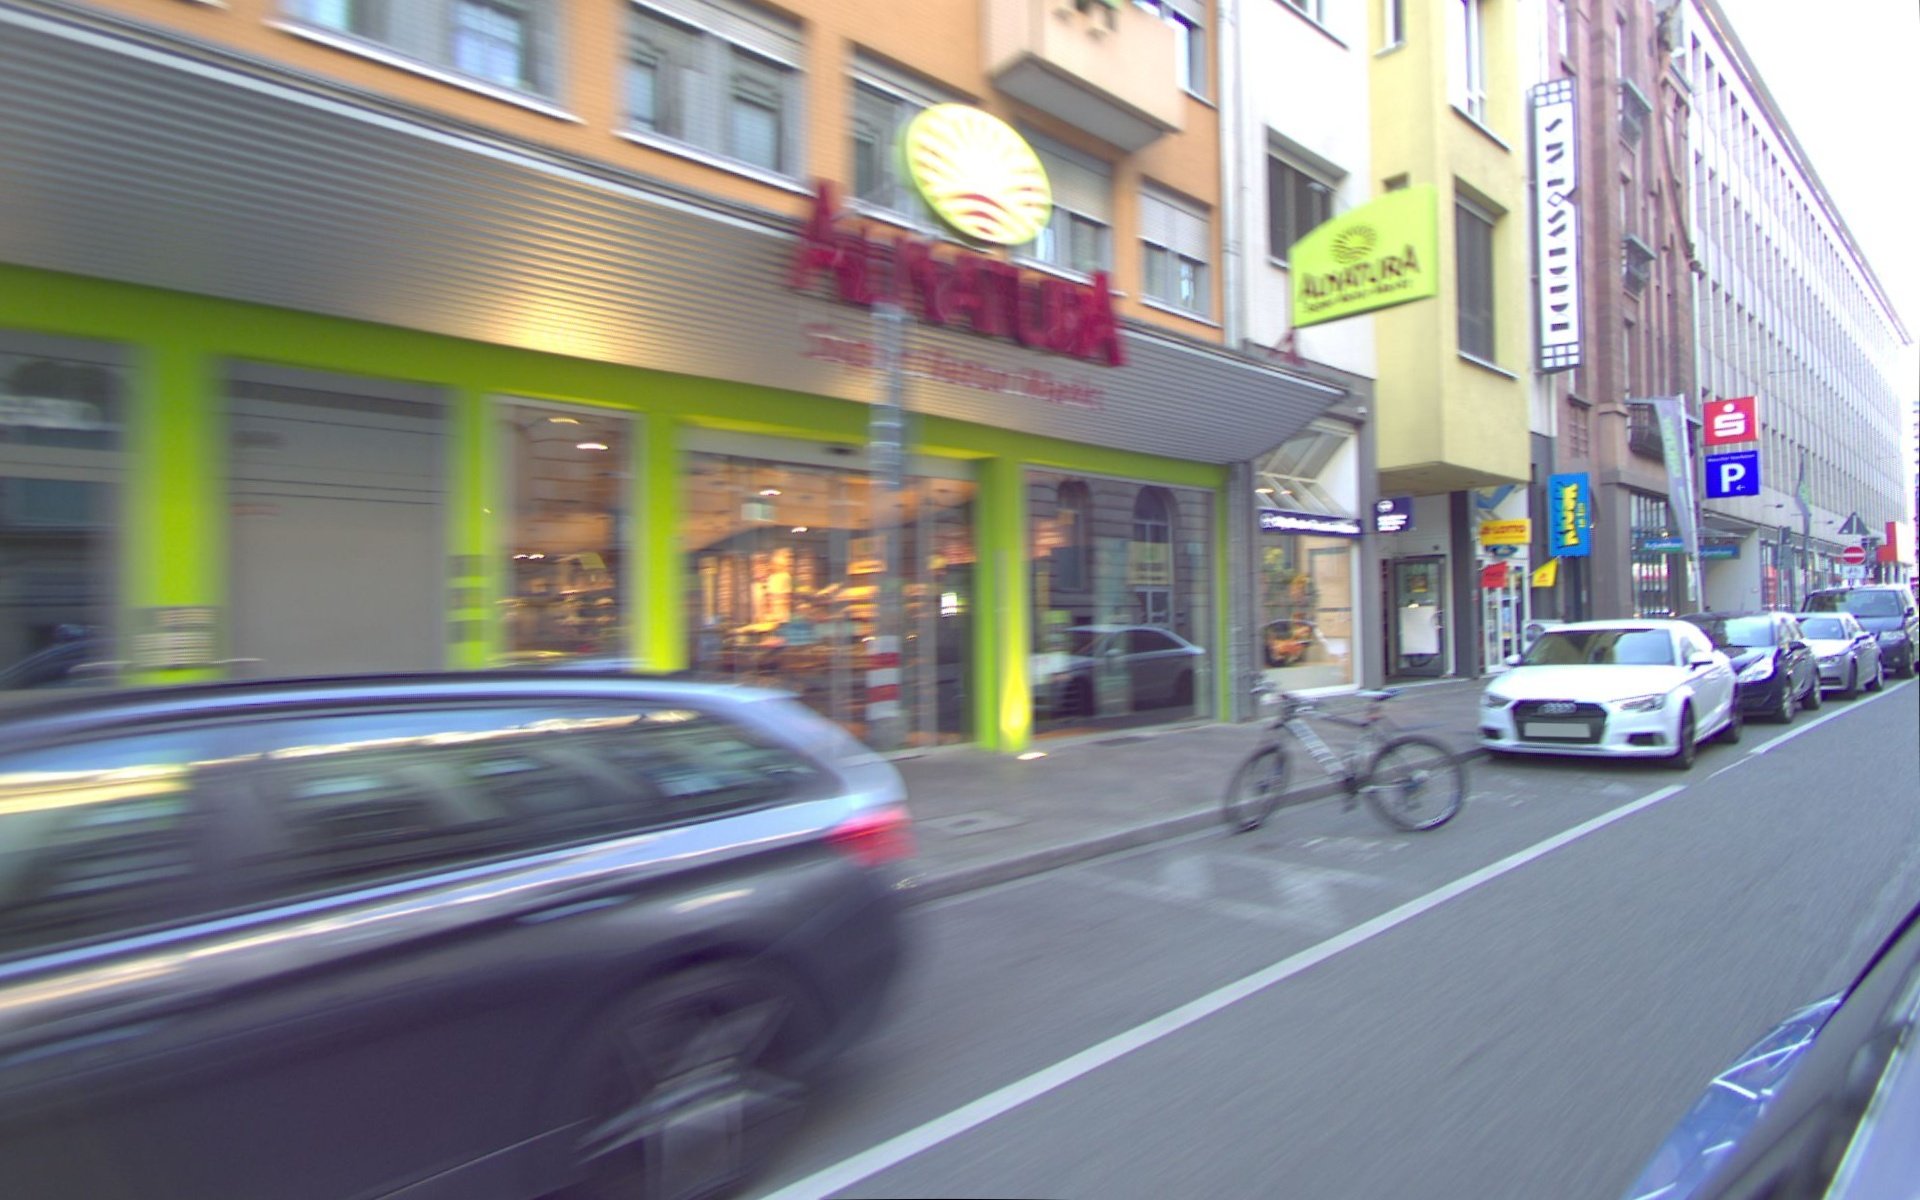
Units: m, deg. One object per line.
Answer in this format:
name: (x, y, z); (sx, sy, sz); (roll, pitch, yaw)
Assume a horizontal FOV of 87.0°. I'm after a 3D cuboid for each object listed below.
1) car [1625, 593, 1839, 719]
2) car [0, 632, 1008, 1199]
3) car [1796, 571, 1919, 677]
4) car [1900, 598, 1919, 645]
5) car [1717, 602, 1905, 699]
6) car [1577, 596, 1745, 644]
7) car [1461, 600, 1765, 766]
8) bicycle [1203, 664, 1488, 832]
car: (10.981, 0.738, 14.288); (4.102, 1.536, 1.619); (1, -4, -42)
car: (-2.179, 0.861, 2.425); (4.672, 1.433, 1.694); (0, -4, -41)
car: (20.022, 0.476, 22.165); (4.967, 2.085, 1.848); (-1, -2, -42)
car: (32.363, 0.657, 33.329); (4.234, 1.466, 1.658); (-1, -2, -42)
car: (14.811, 0.828, 17.537); (4.418, 1.472, 1.689); (0, -4, -40)
car: (23.945, 0.709, 34.682); (1.885, 1.520, 4.407); (-1, -1, -42)
car: (7.181, 0.774, 10.912); (4.562, 1.430, 1.692); (1, -4, -44)
bicycle: (2.625, 1.013, 7.065); (1.708, 1.069, 0.658); (-2, -2, 8)
